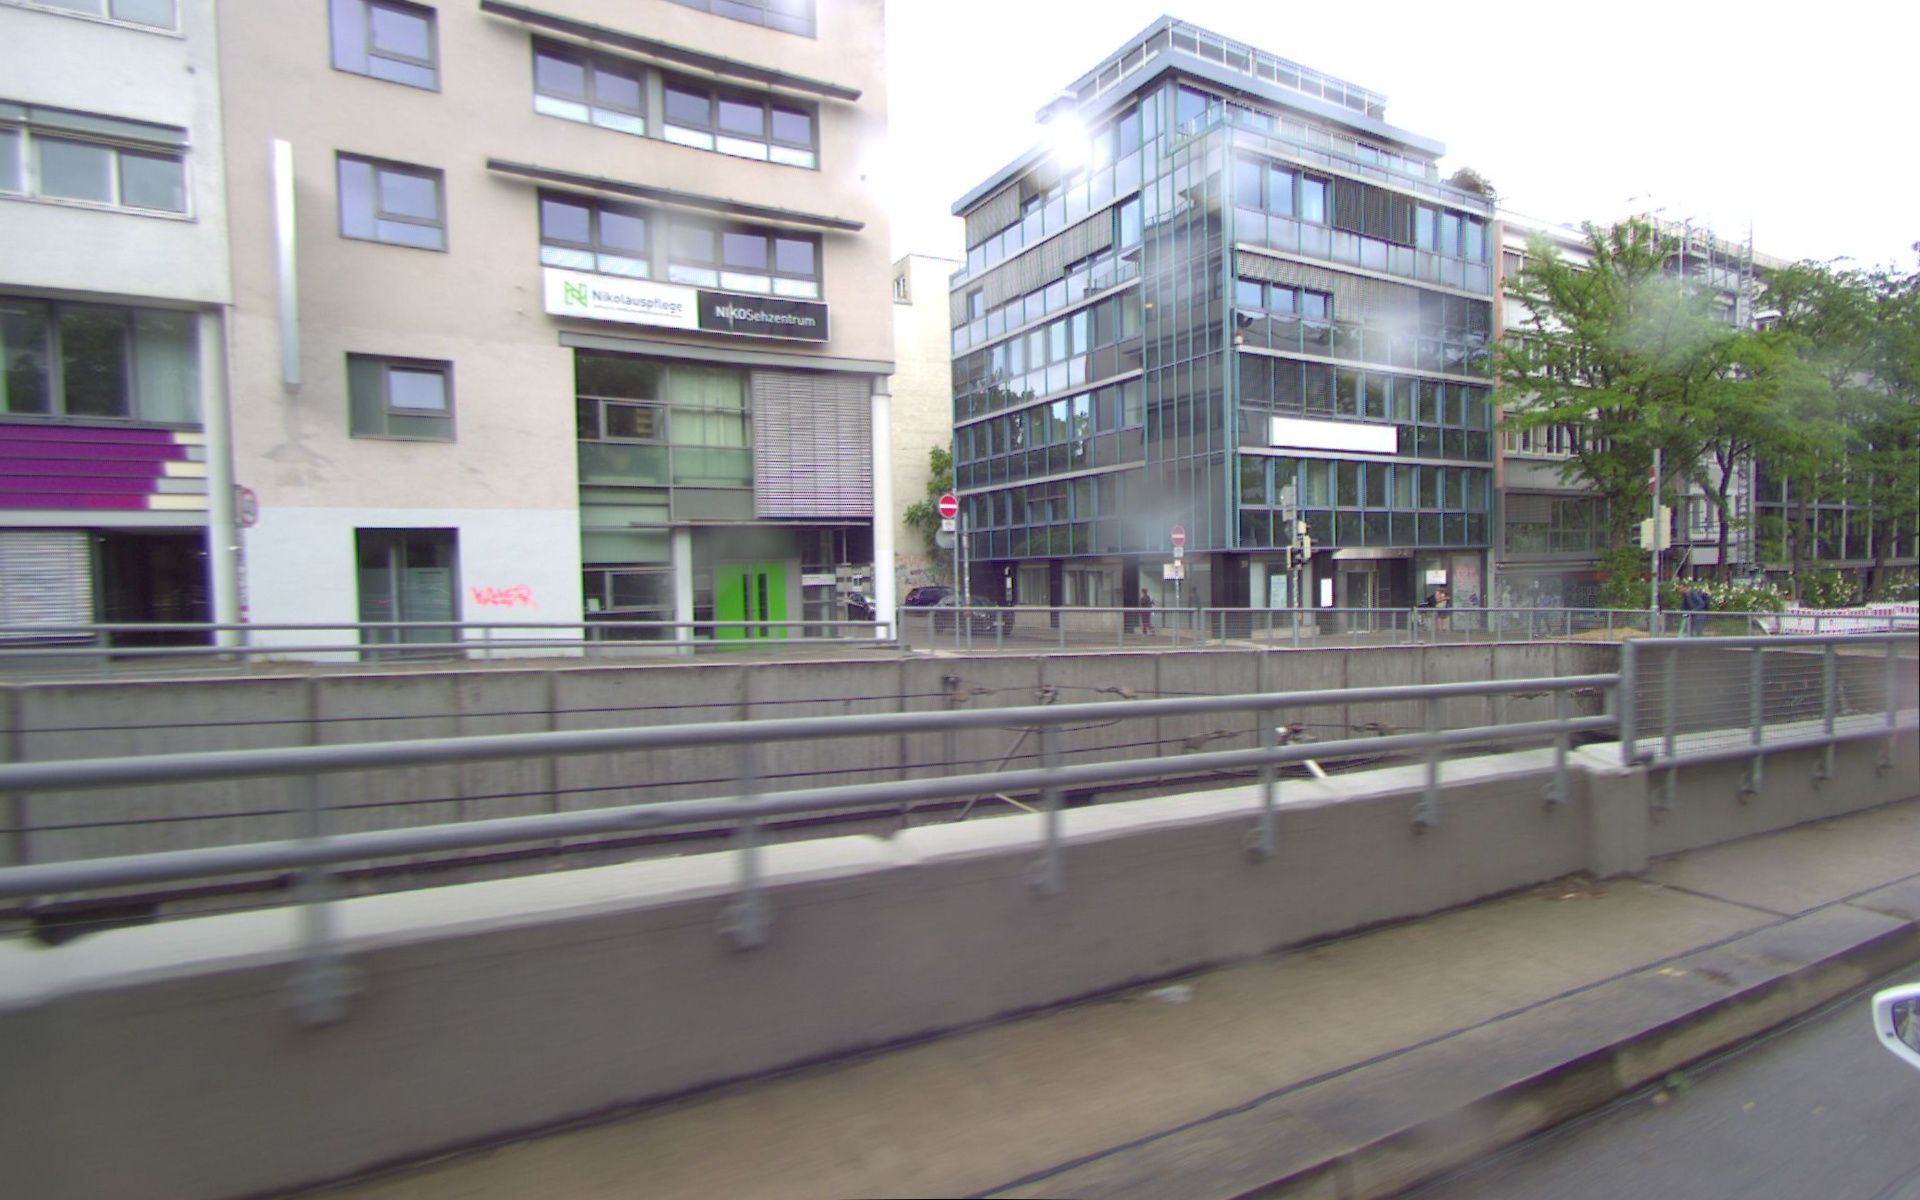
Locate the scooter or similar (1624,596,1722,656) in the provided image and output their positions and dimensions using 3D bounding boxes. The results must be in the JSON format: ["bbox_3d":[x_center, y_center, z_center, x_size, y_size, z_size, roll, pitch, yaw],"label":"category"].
[{"bbox_3d":[17.951,0.648,25.344,1.918,1.438,0.547,1,1,25],"label":"scooter or similar"}]

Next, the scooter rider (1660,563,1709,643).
[{"bbox_3d":[18.182,0.060,25.236,0.807,1.974,0.810,1,2,25],"label":"scooter rider"}]

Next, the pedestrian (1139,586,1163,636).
[{"bbox_3d":[6.477,0.372,34.141,0.482,1.694,0.661,0,1,-30],"label":"pedestrian"}]

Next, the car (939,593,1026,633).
[{"bbox_3d":[0.814,0.477,39.344,1.788,1.445,3.869,0,0,-28],"label":"car"}]

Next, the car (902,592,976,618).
[{"bbox_3d":[-1.198,0.259,57.381,3.846,1.445,1.799,0,0,-27],"label":"car"}]

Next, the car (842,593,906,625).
[{"bbox_3d":[-4.160,0.402,48.169,1.671,1.445,3.869,0,0,-28],"label":"car"}]

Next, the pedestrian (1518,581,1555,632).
[{"bbox_3d":[21.961,0.245,38.251,0.856,1.893,0.873,0,2,-30],"label":"pedestrian"}]

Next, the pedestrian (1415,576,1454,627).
[{"bbox_3d":[17.618,0.047,37.315,0.943,1.893,0.865,0,2,-11],"label":"pedestrian"}]
